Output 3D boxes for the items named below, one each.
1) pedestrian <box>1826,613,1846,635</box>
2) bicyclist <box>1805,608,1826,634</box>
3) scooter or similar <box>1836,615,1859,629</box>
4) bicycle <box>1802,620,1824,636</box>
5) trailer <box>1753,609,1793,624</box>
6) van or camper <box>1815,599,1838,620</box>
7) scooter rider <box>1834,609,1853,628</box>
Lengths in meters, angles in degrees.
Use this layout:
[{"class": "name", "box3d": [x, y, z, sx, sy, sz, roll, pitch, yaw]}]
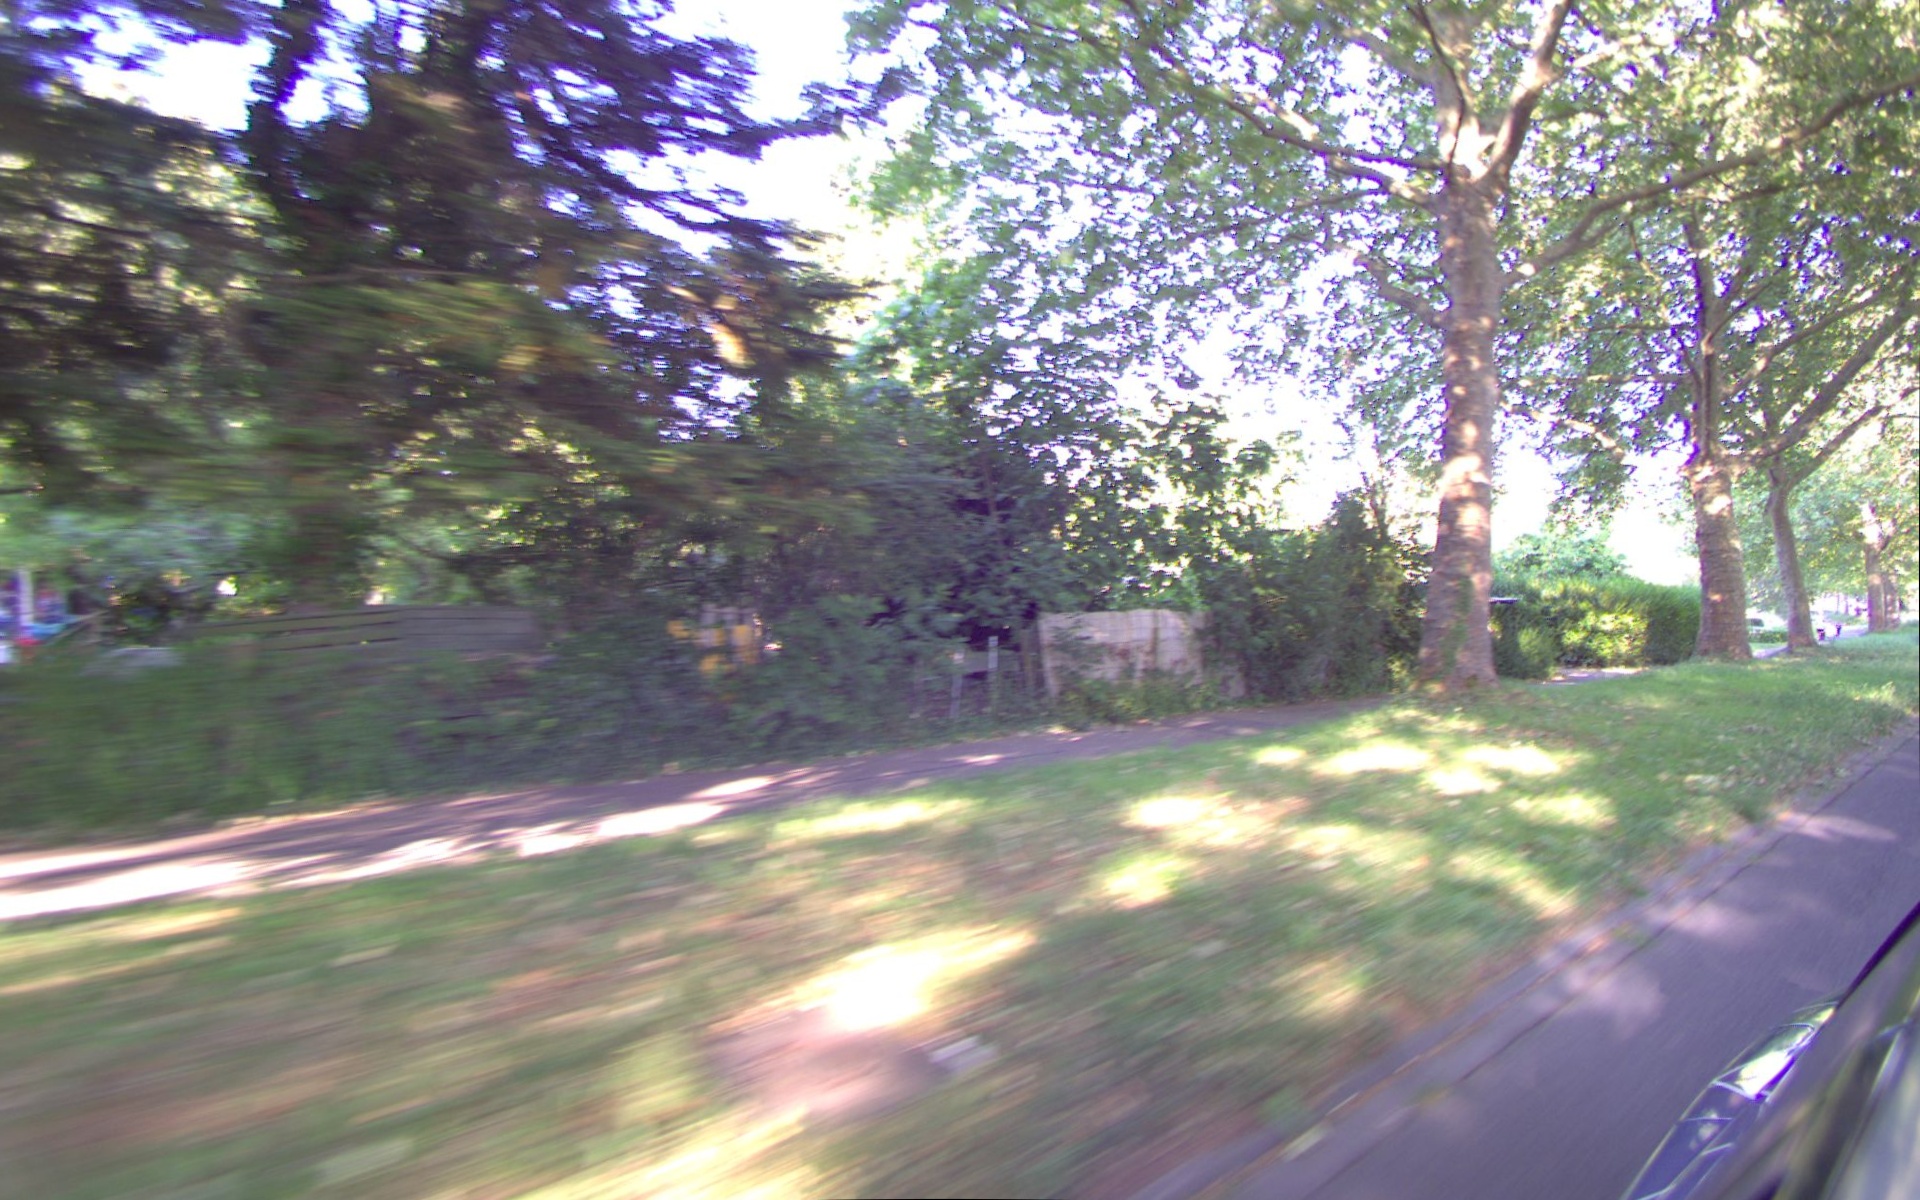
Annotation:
[{"class": "pedestrian", "box3d": [66.870, 1.831, 77.280, 0.768, 1.596, 0.847, 0, 0, -15]}, {"class": "bicyclist", "box3d": [47.045, 1.143, 55.653, 0.756, 1.383, 0.736, 0, 0, -37]}, {"class": "scooter or similar", "box3d": [74.451, 1.839, 84.894, 1.569, 1.149, 0.341, 0, 0, -1]}, {"class": "bicycle", "box3d": [47.055, 1.527, 55.821, 1.854, 0.827, 0.554, 0, 1, -38]}, {"class": "trailer", "box3d": [60.458, 1.238, 75.266, 1.180, 1.065, 2.121, 0, 1, -41]}, {"class": "van or camper", "box3d": [120.969, 1.341, 141.350, 2.377, 2.835, 5.604, 1, 1, 40]}, {"class": "scooter rider", "box3d": [74.187, 1.577, 84.985, 0.829, 1.596, 0.784, 1, -1, -1]}]
